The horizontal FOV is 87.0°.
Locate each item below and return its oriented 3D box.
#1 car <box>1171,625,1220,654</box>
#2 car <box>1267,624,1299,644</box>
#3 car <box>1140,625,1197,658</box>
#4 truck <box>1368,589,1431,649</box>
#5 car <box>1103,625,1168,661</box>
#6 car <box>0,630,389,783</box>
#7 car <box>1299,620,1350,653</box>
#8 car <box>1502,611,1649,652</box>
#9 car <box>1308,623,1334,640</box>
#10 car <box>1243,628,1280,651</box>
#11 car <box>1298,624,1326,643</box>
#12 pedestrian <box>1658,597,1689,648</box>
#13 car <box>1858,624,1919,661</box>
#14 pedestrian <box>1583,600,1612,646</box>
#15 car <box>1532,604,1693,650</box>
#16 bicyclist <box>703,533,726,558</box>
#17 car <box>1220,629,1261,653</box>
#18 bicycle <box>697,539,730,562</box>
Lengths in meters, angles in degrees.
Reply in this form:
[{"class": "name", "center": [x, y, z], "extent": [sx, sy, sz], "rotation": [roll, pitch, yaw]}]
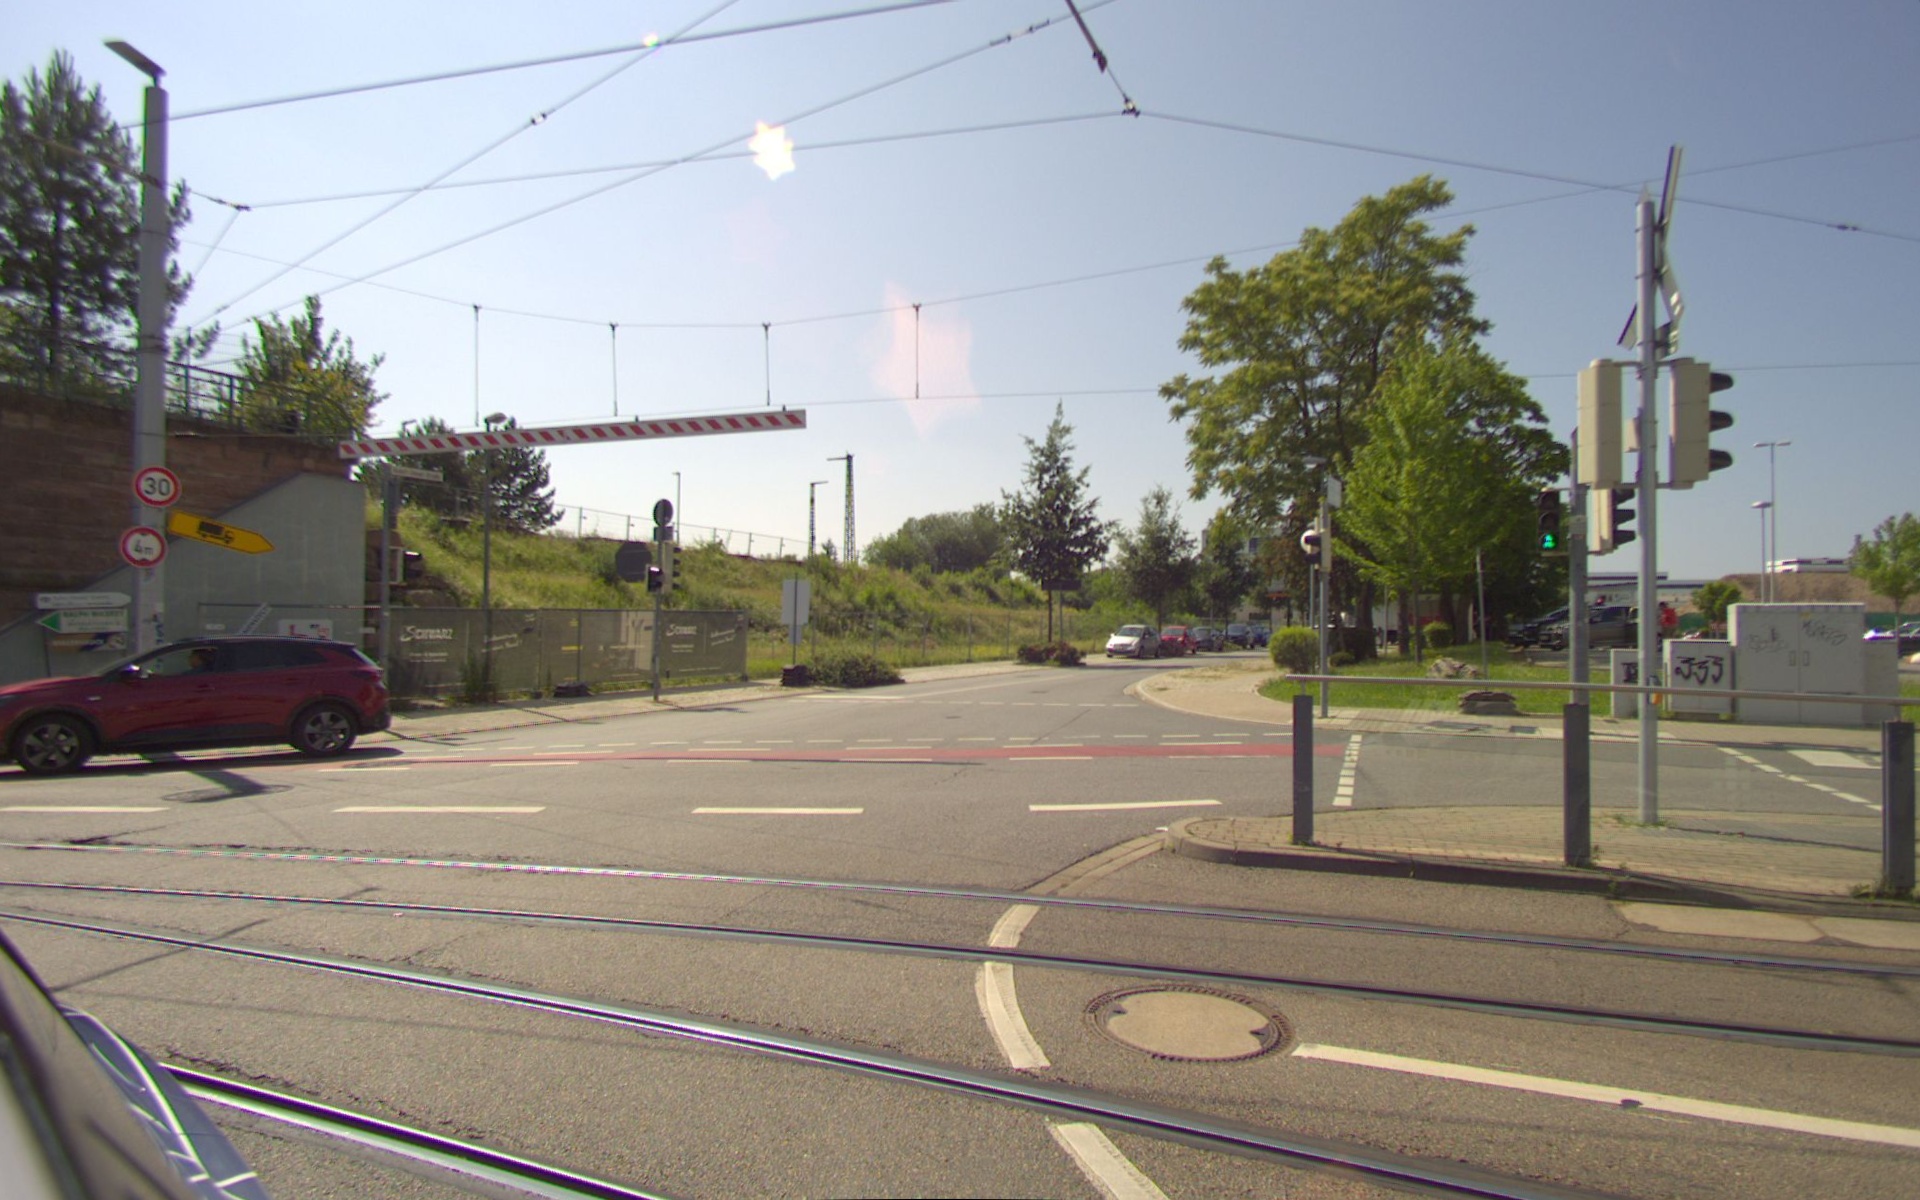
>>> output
[{"class": "car", "center": [14.106, 2.346, 60.506], "extent": [1.840, 1.628, 3.961], "rotation": [1, -2, 28]}, {"class": "car", "center": [27.112, 2.829, 84.798], "extent": [1.840, 1.628, 3.961], "rotation": [0, -2, 28]}, {"class": "car", "center": [11.102, 2.168, 53.703], "extent": [1.840, 1.628, 3.961], "rotation": [1, -1, 28]}, {"class": "truck", "center": [33.251, 1.533, 76.343], "extent": [3.341, 4.175, 9.185], "rotation": [-3, -3, 29]}, {"class": "car", "center": [8.722, 2.123, 50.095], "extent": [1.840, 1.628, 4.327], "rotation": [2, -1, 28]}, {"class": "car", "center": [-9.797, 1.242, 12.763], "extent": [4.240, 1.616, 1.825], "rotation": [1, -4, -41]}, {"class": "car", "center": [17.594, 1.746, 48.787], "extent": [1.758, 1.504, 3.962], "rotation": [-3, -3, 27]}, {"class": "car", "center": [24.611, 1.272, 40.538], "extent": [4.744, 1.504, 1.854], "rotation": [-1, -3, -4]}, {"class": "car", "center": [35.451, 3.133, 99.338], "extent": [1.840, 1.628, 3.961], "rotation": [0, -2, 28]}, {"class": "car", "center": [22.168, 2.905, 74.419], "extent": [1.840, 1.628, 3.961], "rotation": [1, -2, 28]}, {"class": "car", "center": [32.091, 3.066, 92.179], "extent": [1.840, 1.628, 3.961], "rotation": [0, -2, 28]}, {"class": "pedestrian", "center": [22.095, 0.705, 31.337], "extent": [0.745, 1.539, 0.565], "rotation": [2, -3, -41]}, {"class": "car", "center": [38.754, 1.694, 40.224], "extent": [1.693, 1.463, 4.253], "rotation": [0, -2, -19]}, {"class": "pedestrian", "center": [21.559, 0.788, 34.222], "extent": [0.744, 1.539, 0.565], "rotation": [1, -3, -40]}, {"class": "car", "center": [21.038, 0.898, 32.782], "extent": [3.943, 1.348, 1.714], "rotation": [-2, -3, 8]}, {"class": "bicyclist", "center": [-15.409, -3.425, 63.594], "extent": [0.946, 1.399, 1.056], "rotation": [-3, -2, 20]}, {"class": "car", "center": [19.130, 2.775, 68.943], "extent": [1.861, 1.554, 3.962], "rotation": [-2, -2, 28]}, {"class": "bicycle", "center": [-15.449, -3.086, 63.447], "extent": [0.930, 1.222, 2.160], "rotation": [-3, -2, 19]}]
